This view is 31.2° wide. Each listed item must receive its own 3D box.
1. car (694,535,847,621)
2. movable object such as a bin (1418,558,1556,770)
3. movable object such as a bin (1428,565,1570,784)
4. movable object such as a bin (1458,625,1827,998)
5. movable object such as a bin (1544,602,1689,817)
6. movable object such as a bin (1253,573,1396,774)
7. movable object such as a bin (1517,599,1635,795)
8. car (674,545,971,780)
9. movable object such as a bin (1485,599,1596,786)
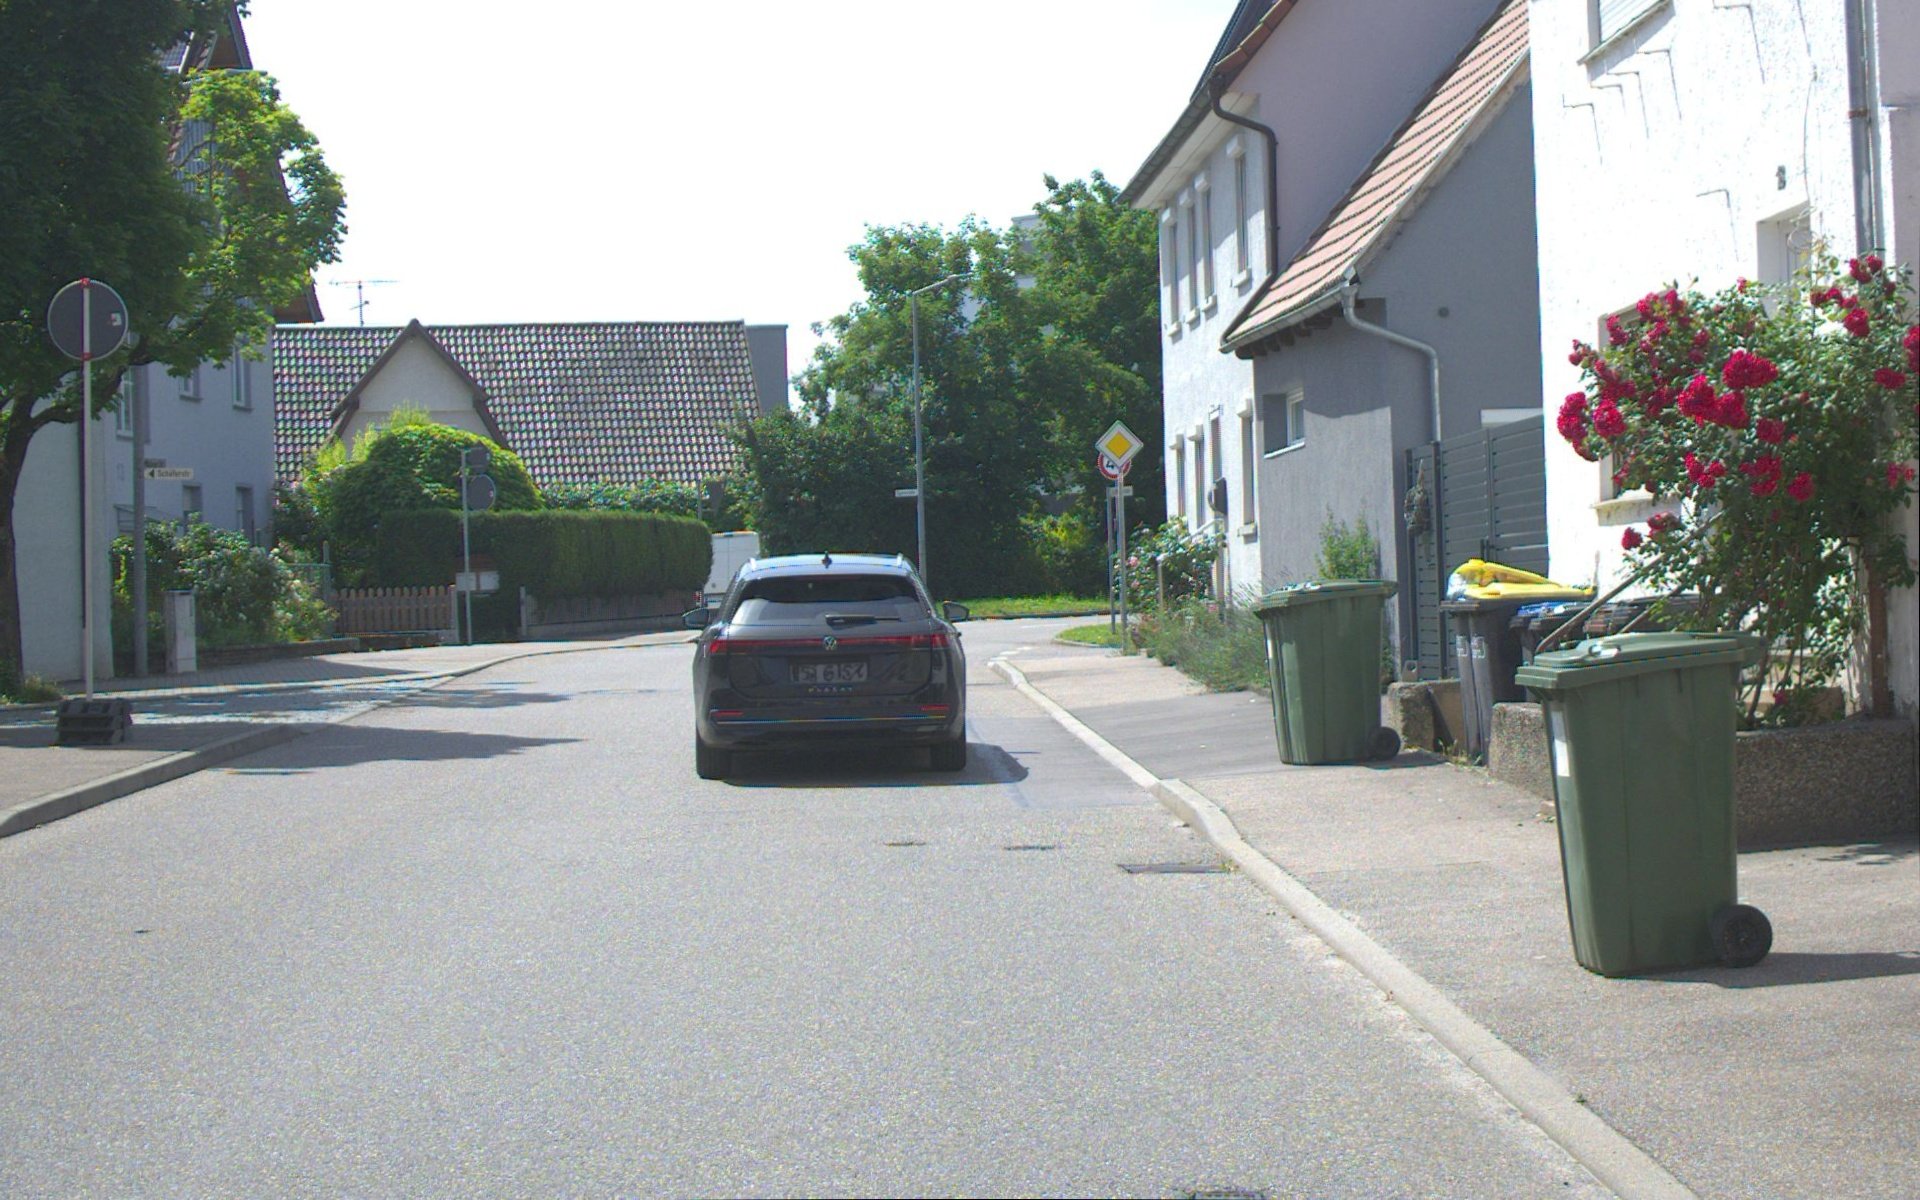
[{"bbox_3d":[-4.703,-0.579,86.066,2.129,2.007,4.933,-1,1,18],"label":"car"},{"bbox_3d":[3.057,0.362,19.980,0.665,1.190,0.660,-1,1,-2],"label":"movable object such as a bin"},{"bbox_3d":[3.018,0.406,19.288,0.665,1.190,0.588,-1,1,-2],"label":"movable object such as a bin"},{"bbox_3d":[2.216,0.667,11.262,0.875,1.071,0.873,-6,1,-6],"label":"movable object such as a bin"},{"bbox_3d":[3.286,0.540,17.239,0.592,1.036,0.530,-1,1,-2],"label":"movable object such as a bin"},{"bbox_3d":[2.152,0.421,20.361,0.678,1.151,0.820,-1,1,-6],"label":"movable object such as a bin"},{"bbox_3d":[3.199,0.499,17.881,0.503,0.990,0.442,-1,1,-2],"label":"movable object such as a bin"},{"bbox_3d":[-0.848,0.353,23.751,1.841,1.415,4.683,0,1,0],"label":"car"},{"bbox_3d":[3.163,0.498,18.762,0.503,0.990,0.442,-1,1,-2],"label":"movable object such as a bin"}]
